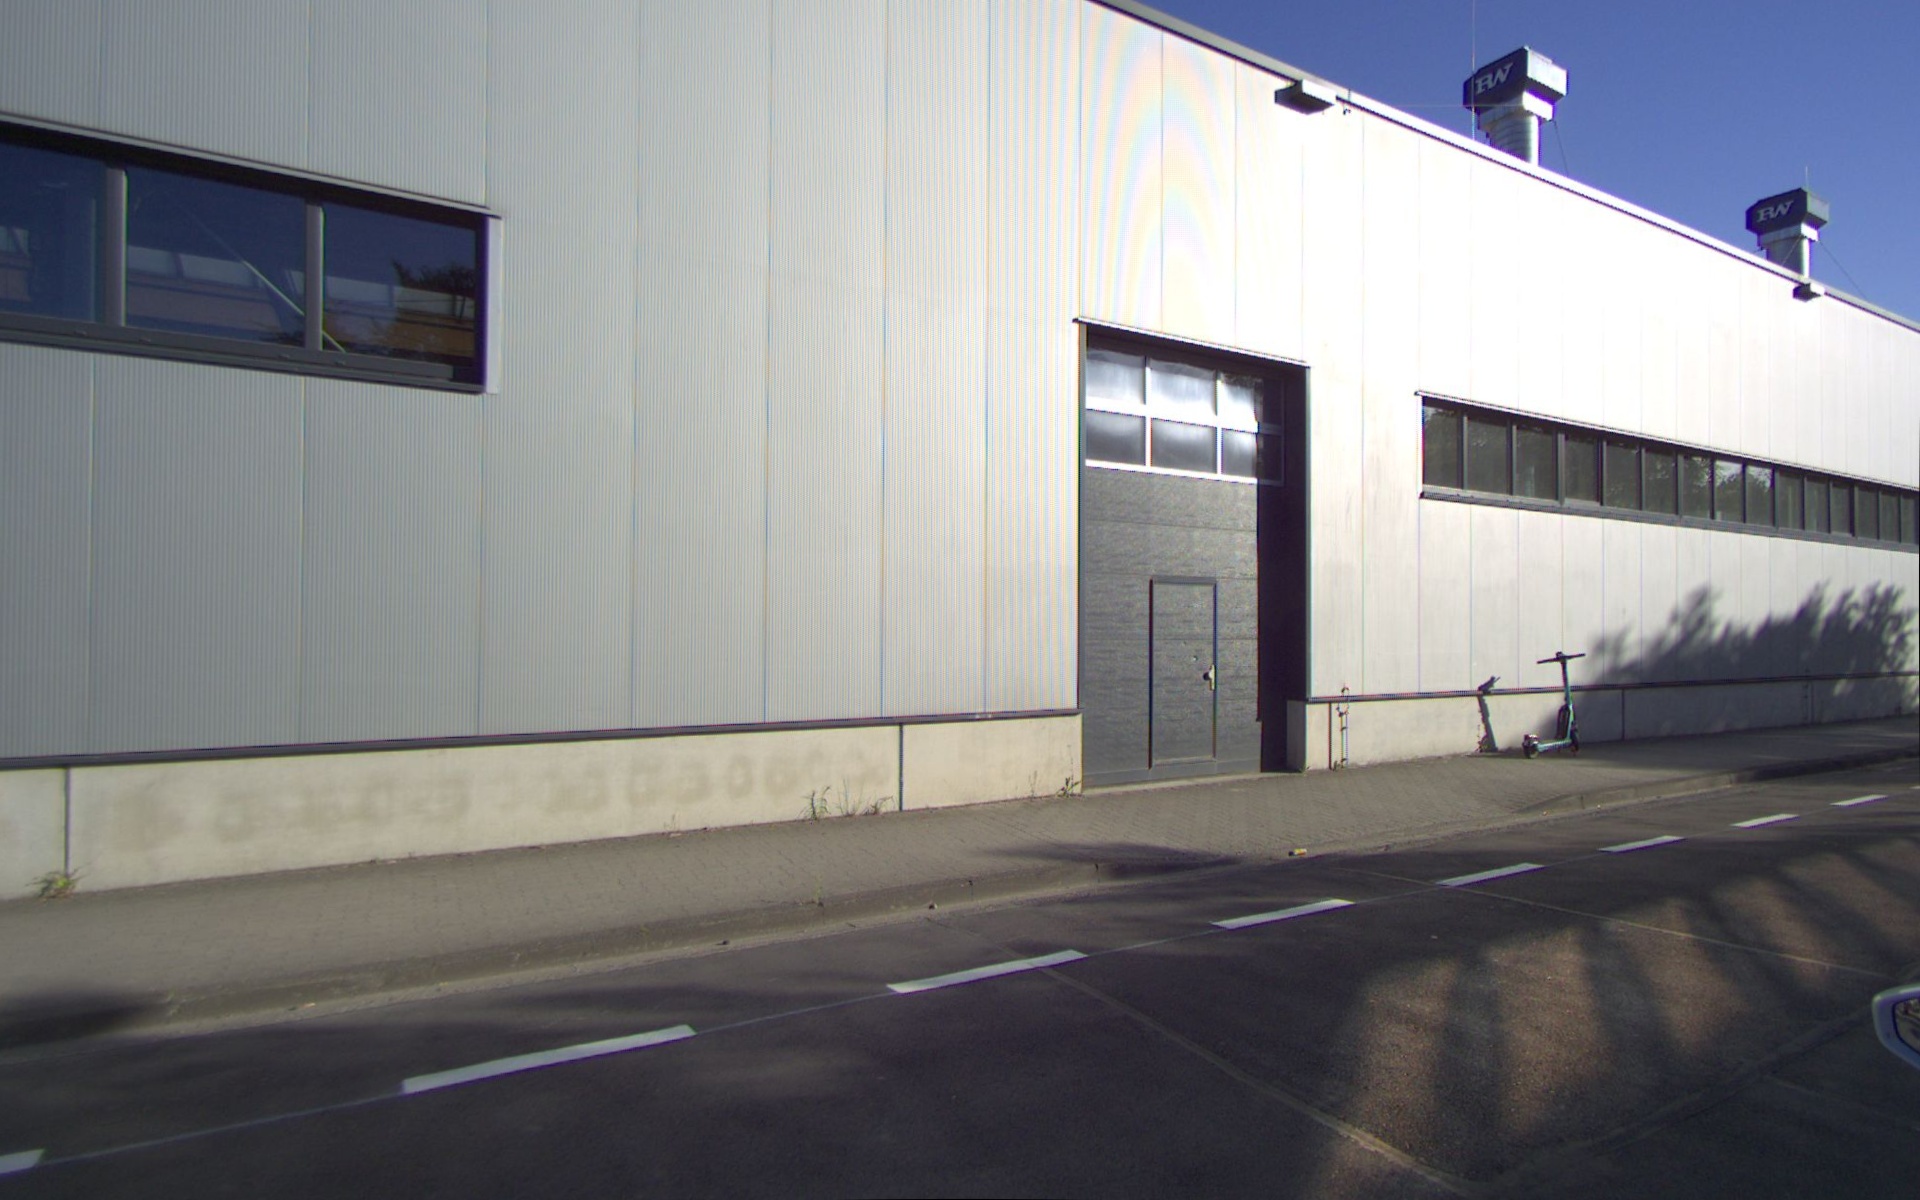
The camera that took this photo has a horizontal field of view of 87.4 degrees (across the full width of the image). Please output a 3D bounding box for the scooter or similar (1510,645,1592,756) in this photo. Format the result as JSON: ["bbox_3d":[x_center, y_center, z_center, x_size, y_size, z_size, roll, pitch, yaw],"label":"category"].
[{"bbox_3d":[7.208,1.197,12.246,1.047,1.284,0.414,1,-1,-30],"label":"scooter or similar"}]
